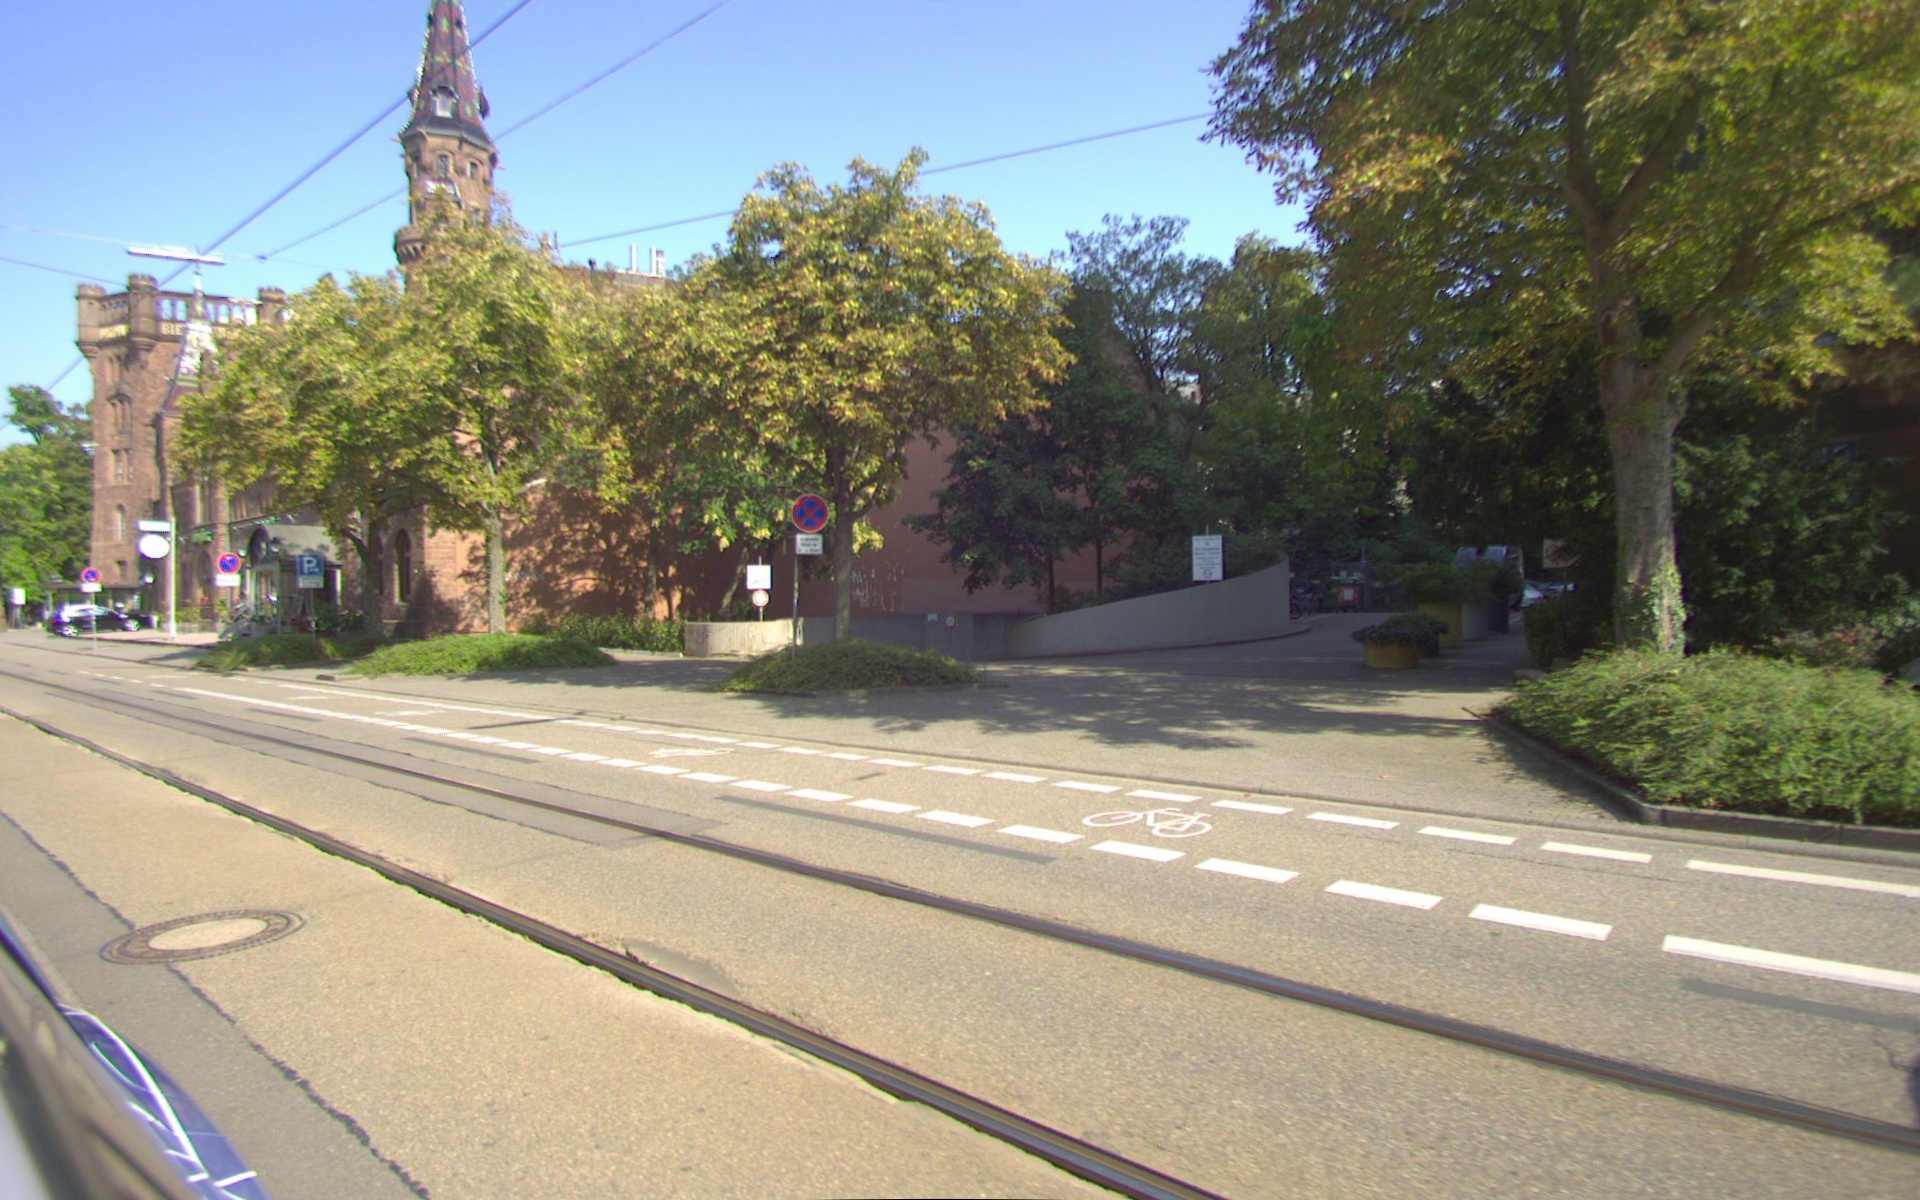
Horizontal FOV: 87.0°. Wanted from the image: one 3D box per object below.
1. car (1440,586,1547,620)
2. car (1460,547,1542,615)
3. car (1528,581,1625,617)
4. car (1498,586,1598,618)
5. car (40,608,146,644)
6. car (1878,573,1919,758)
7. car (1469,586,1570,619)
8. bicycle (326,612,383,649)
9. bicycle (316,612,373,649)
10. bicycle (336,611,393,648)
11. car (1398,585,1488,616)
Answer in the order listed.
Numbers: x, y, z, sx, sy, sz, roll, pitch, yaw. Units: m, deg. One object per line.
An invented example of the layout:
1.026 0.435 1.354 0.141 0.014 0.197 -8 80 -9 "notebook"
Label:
25.148 0.185 47.831 1.703 1.539 4.145 1 -1 -32 "car"
22.305 -0.717 41.587 2.019 2.616 5.142 -1 -1 39 "car"
31.621 -0.021 52.051 1.416 1.746 4.146 0 -1 -25 "car"
29.293 0.132 50.534 1.416 1.539 4.145 1 -1 -32 "car"
-49.985 1.465 58.401 1.956 1.657 4.352 -1 4 41 "car"
8.327 0.526 6.469 1.770 1.490 3.987 -1 0 11 "car"
27.062 0.158 49.076 1.416 1.539 4.145 1 -1 -32 "car"
-20.893 1.038 34.968 0.418 1.082 1.798 -1 4 18 "bicycle"
-21.341 1.045 35.099 0.418 1.082 1.798 -1 4 18 "bicycle"
-20.457 0.988 34.814 0.418 1.082 1.798 -1 4 18 "bicycle"
23.064 0.020 48.348 3.618 1.388 1.480 -1 0 42 "car"
